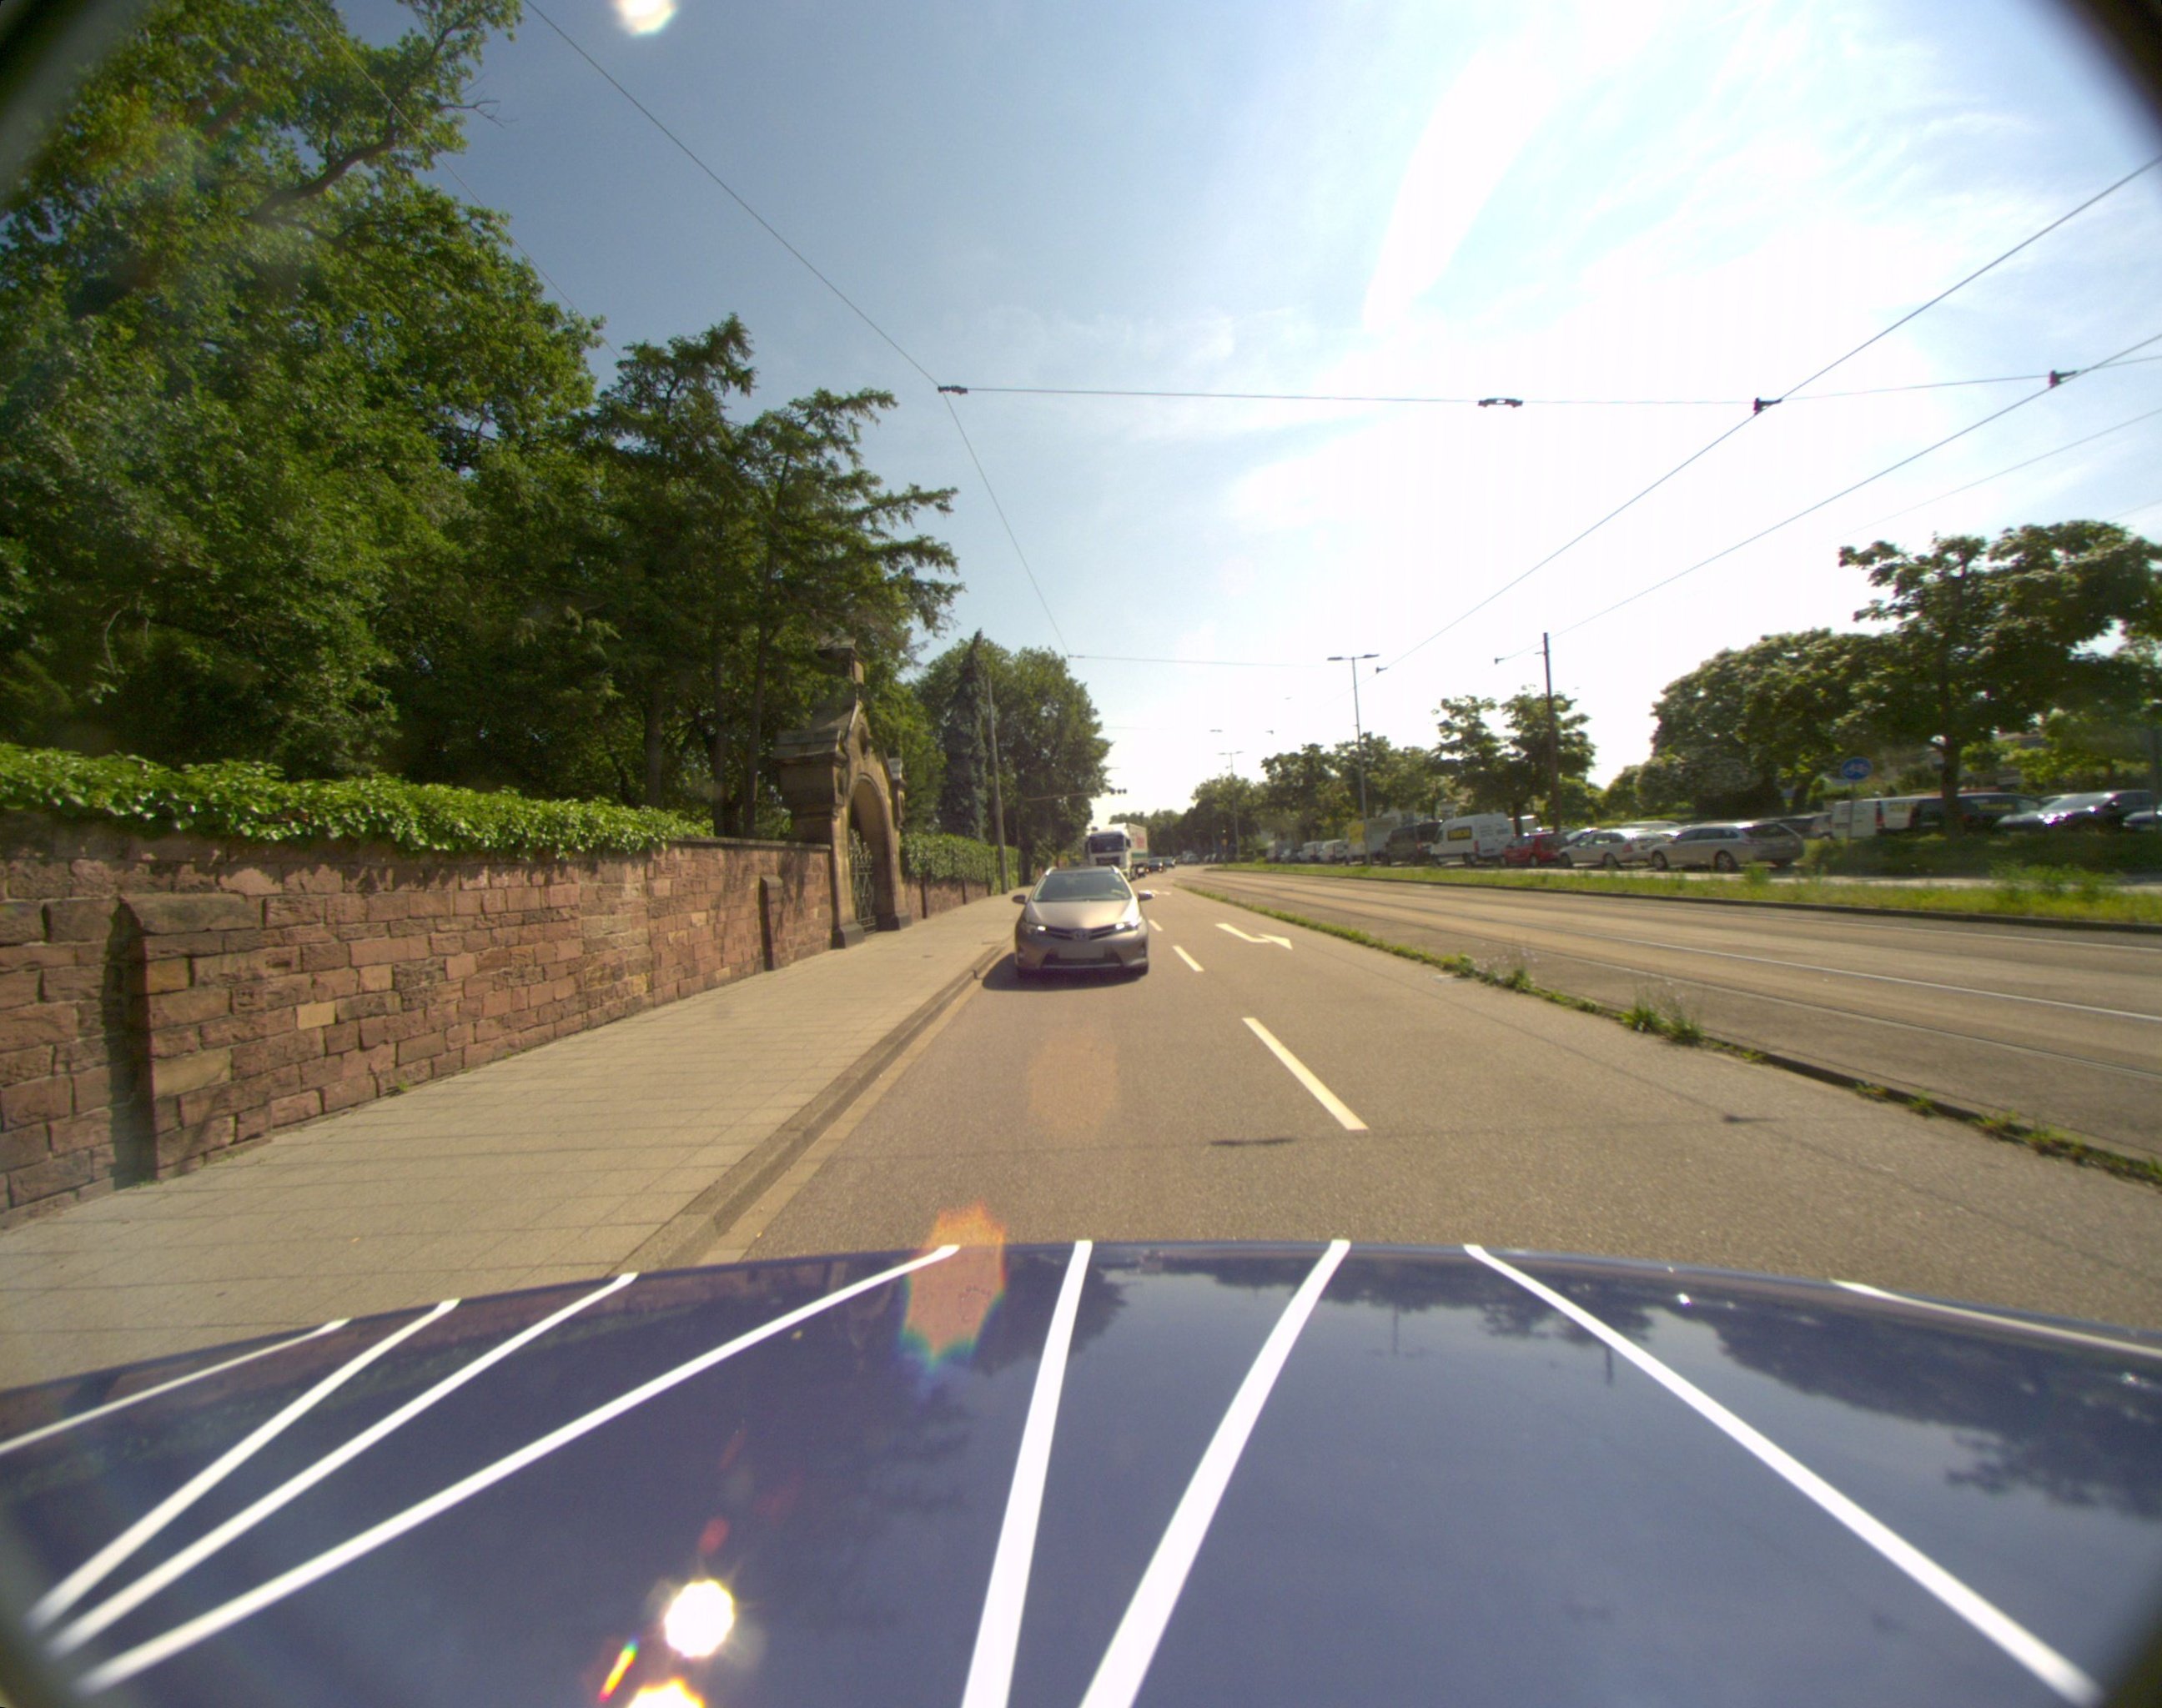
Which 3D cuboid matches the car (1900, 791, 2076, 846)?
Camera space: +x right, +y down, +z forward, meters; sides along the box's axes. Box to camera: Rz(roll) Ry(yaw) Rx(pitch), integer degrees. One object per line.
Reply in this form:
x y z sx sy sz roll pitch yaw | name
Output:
30.872 -1.189 25.945 3.997 1.554 1.663 -3 0 -1 | car

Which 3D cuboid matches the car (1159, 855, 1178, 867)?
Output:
10.940 0.845 95.122 1.933 1.324 4.000 -4 0 2 | car

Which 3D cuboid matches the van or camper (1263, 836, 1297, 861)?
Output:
21.786 -0.537 83.379 2.262 2.499 6.148 -4 -1 3 | van or camper

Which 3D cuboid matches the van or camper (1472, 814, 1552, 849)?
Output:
45.990 -2.346 81.160 6.968 3.225 2.582 -3 0 -1 | van or camper

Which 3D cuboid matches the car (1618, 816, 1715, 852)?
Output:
32.179 -1.106 41.827 3.997 1.684 1.663 -4 0 1 | car

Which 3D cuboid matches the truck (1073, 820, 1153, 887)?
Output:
2.694 -0.086 55.220 3.388 4.045 14.298 -4 0 11 | truck

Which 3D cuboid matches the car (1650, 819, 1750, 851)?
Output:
32.029 -0.977 39.379 3.998 1.363 1.489 -3 0 -2 | car

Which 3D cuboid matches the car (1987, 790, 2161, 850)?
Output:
30.702 -1.022 23.245 3.997 1.554 1.663 -3 0 -1 | car

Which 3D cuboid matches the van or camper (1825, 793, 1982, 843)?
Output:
30.819 -1.334 28.546 3.998 1.554 1.876 -3 0 -4 | van or camper

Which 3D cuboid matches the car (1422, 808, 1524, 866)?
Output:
20.604 -0.795 40.321 2.201 2.615 5.980 -6 -1 1 | car

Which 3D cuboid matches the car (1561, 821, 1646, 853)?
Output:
32.063 -1.049 46.717 3.997 1.684 1.663 -4 0 1 | car

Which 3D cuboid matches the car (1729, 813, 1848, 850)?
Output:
31.657 -0.984 34.059 3.998 1.363 1.489 -3 0 -2 | car

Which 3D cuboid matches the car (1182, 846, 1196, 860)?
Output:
22.821 -0.273 161.148 2.016 2.635 6.086 -7 0 1 | car

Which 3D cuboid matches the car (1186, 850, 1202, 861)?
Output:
17.499 0.227 118.003 2.048 1.587 4.661 -2 0 4 | car

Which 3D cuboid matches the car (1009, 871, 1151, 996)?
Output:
0.074 1.033 11.466 1.719 1.439 4.031 -2 0 2 | car

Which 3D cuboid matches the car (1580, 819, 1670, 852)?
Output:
32.113 -1.076 44.907 3.997 1.684 1.663 -4 0 1 | car

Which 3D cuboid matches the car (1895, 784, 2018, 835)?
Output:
44.113 -2.235 38.332 3.998 2.187 1.910 -4 0 -2 | car

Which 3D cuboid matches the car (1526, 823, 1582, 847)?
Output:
44.197 -1.768 71.050 3.998 1.879 1.785 -4 0 -2 | car

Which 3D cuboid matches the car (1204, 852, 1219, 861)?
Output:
22.336 0.406 130.158 1.679 1.427 4.458 -4 -1 -1 | car

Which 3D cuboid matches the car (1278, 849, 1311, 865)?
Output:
21.519 0.296 76.832 1.937 1.446 4.886 -5 0 1 | car

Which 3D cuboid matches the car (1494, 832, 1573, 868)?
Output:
20.500 -0.173 34.590 1.295 1.481 3.676 -4 0 -1 | car

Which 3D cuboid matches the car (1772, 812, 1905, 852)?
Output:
30.785 -0.874 30.920 3.998 1.363 1.489 -3 0 -3 | car

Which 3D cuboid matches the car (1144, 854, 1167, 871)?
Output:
7.198 0.836 73.479 1.759 1.455 4.000 -4 0 0 | car

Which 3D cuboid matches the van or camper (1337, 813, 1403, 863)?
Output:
20.953 -1.040 55.538 2.201 3.222 6.773 -6 -1 2 | van or camper

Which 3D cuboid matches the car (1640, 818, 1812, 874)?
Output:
20.356 -0.218 24.296 1.608 1.481 4.619 -6 -1 3 | car

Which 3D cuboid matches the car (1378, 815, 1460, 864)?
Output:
20.722 -0.821 46.922 2.201 2.653 6.079 -5 0 0 | car

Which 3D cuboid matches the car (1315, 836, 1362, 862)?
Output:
21.593 -0.404 63.897 2.201 1.929 5.186 -6 0 2 | car

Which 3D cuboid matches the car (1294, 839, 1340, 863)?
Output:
21.856 -0.251 70.593 2.202 1.929 5.184 -5 0 -3 | car

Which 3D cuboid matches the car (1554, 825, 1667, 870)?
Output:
20.447 -0.232 29.556 1.295 1.481 4.351 -5 0 1 | car

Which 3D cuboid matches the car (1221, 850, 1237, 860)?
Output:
21.946 0.147 112.979 1.619 1.442 4.084 -4 -1 2 | car

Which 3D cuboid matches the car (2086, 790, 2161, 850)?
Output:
30.661 -1.024 20.832 3.997 1.554 1.663 -3 0 -1 | car
